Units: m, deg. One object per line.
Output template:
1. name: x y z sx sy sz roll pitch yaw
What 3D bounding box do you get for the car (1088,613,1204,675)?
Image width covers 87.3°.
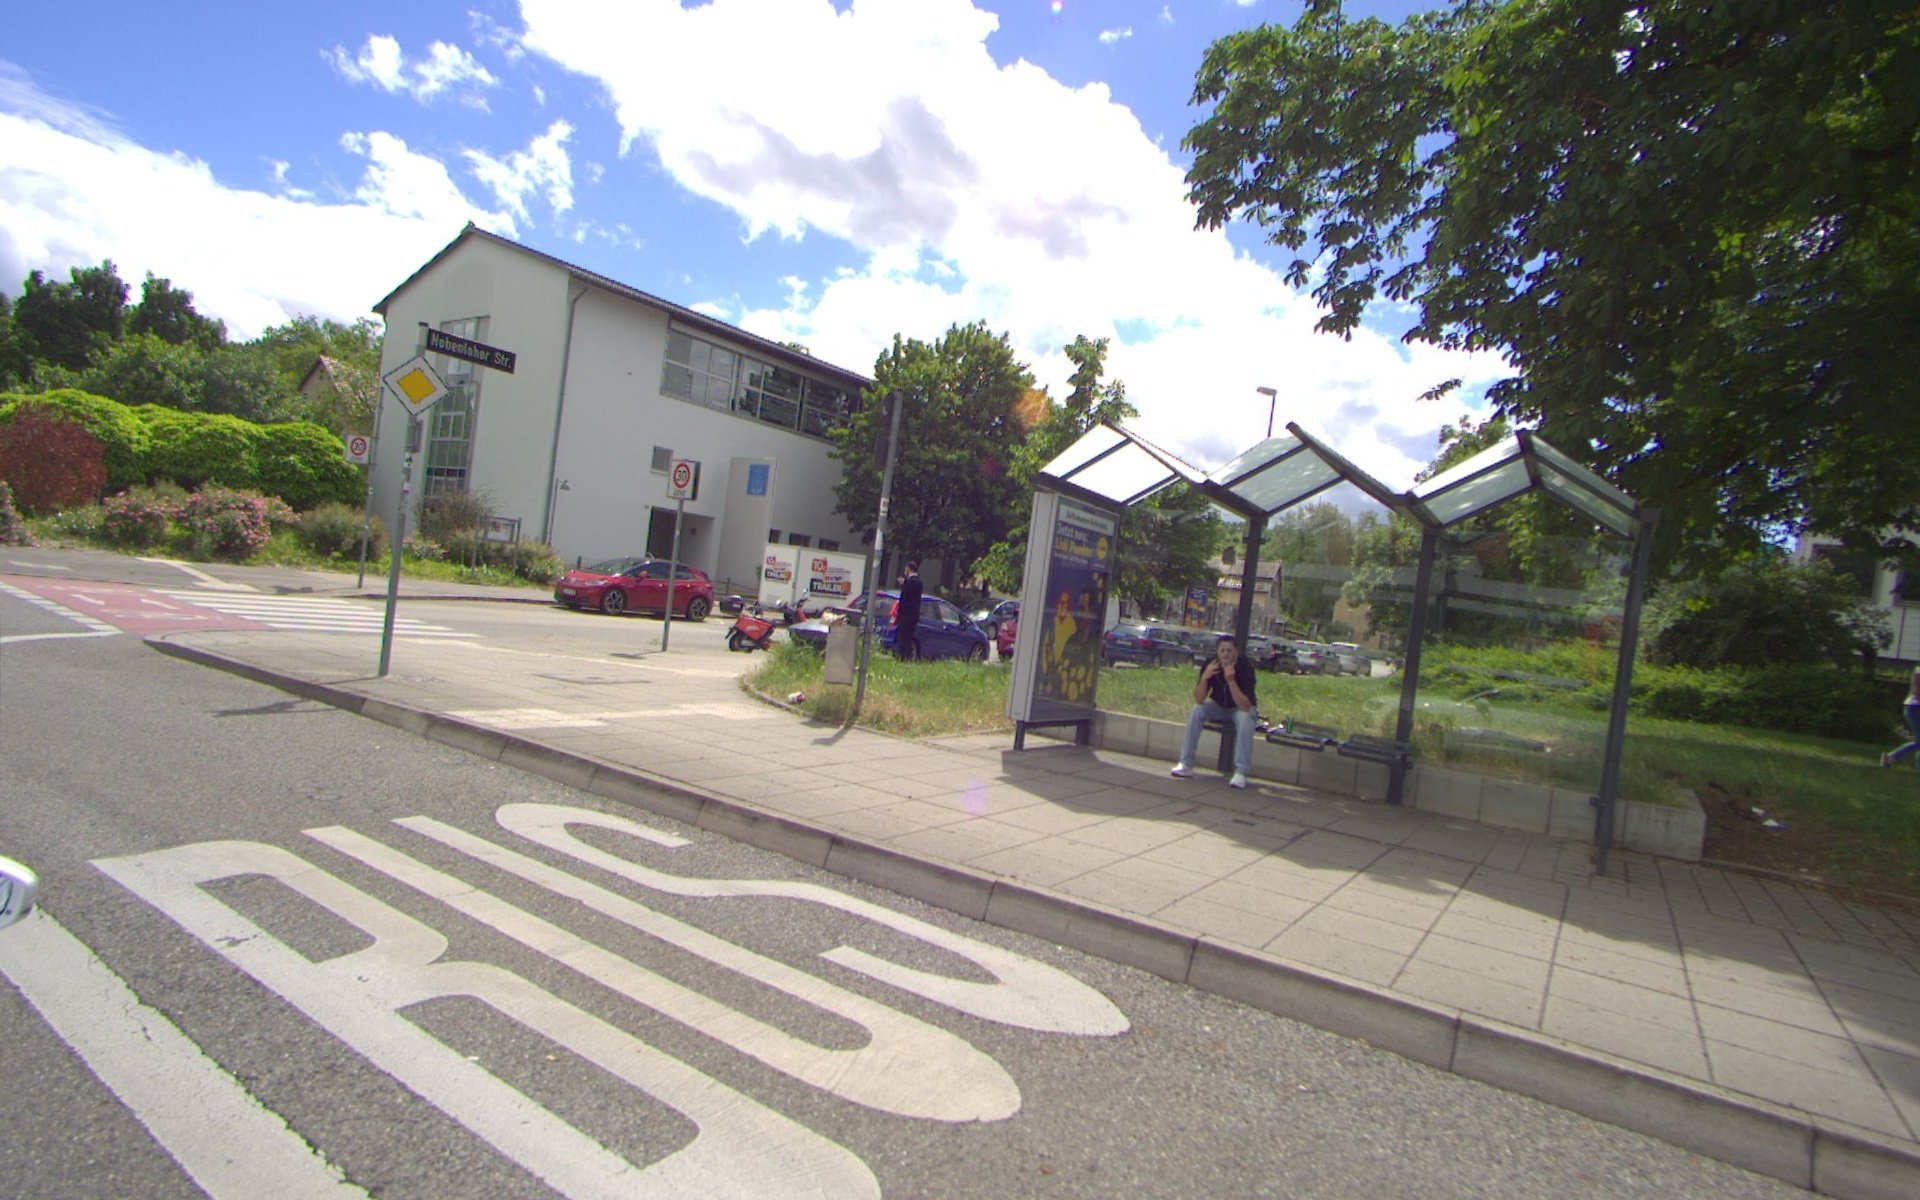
1. car: 5.931 1.435 31.804 1.968 1.579 4.079 7 0 35

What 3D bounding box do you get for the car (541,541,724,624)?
1. car: -8.549 -0.407 26.580 1.967 1.581 4.159 10 1 33

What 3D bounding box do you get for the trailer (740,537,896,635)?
1. trailer: -4.496 -0.399 32.525 2.187 2.517 4.537 9 1 37

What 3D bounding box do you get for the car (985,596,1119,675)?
1. car: 2.547 0.990 27.089 1.801 1.664 3.688 9 0 36

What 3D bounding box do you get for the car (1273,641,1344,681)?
1. car: 15.691 2.780 45.189 1.819 1.382 3.988 9 0 36

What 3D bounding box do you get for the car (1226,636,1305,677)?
1. car: 12.366 2.304 40.543 1.839 1.302 3.989 7 0 34

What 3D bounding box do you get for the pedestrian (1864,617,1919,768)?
1. pedestrian: 11.879 1.162 12.410 0.982 1.782 0.848 6 1 -42

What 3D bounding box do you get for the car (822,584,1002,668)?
1. car: -0.976 0.605 22.085 1.866 1.475 3.791 9 2 36

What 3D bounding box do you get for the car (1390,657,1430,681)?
1. car: 34.686 5.329 77.536 1.968 1.579 4.079 7 0 35

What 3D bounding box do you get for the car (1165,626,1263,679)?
1. car: 9.225 1.928 36.302 1.968 1.579 4.079 7 0 35

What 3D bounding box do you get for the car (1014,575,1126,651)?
1. car: 5.046 0.643 45.288 2.171 2.902 5.574 7 0 38

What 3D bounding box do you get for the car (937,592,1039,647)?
1. car: 1.180 0.802 40.129 1.881 1.745 3.983 7 0 39

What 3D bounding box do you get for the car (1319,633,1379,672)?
1. car: 19.288 2.614 49.799 1.763 1.611 3.987 7 0 35

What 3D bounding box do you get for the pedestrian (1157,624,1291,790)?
1. pedestrian: 2.266 0.903 8.615 0.676 1.274 0.826 8 1 41

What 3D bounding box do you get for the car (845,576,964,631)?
1. car: -1.931 0.154 36.032 1.969 1.522 4.079 9 2 36
